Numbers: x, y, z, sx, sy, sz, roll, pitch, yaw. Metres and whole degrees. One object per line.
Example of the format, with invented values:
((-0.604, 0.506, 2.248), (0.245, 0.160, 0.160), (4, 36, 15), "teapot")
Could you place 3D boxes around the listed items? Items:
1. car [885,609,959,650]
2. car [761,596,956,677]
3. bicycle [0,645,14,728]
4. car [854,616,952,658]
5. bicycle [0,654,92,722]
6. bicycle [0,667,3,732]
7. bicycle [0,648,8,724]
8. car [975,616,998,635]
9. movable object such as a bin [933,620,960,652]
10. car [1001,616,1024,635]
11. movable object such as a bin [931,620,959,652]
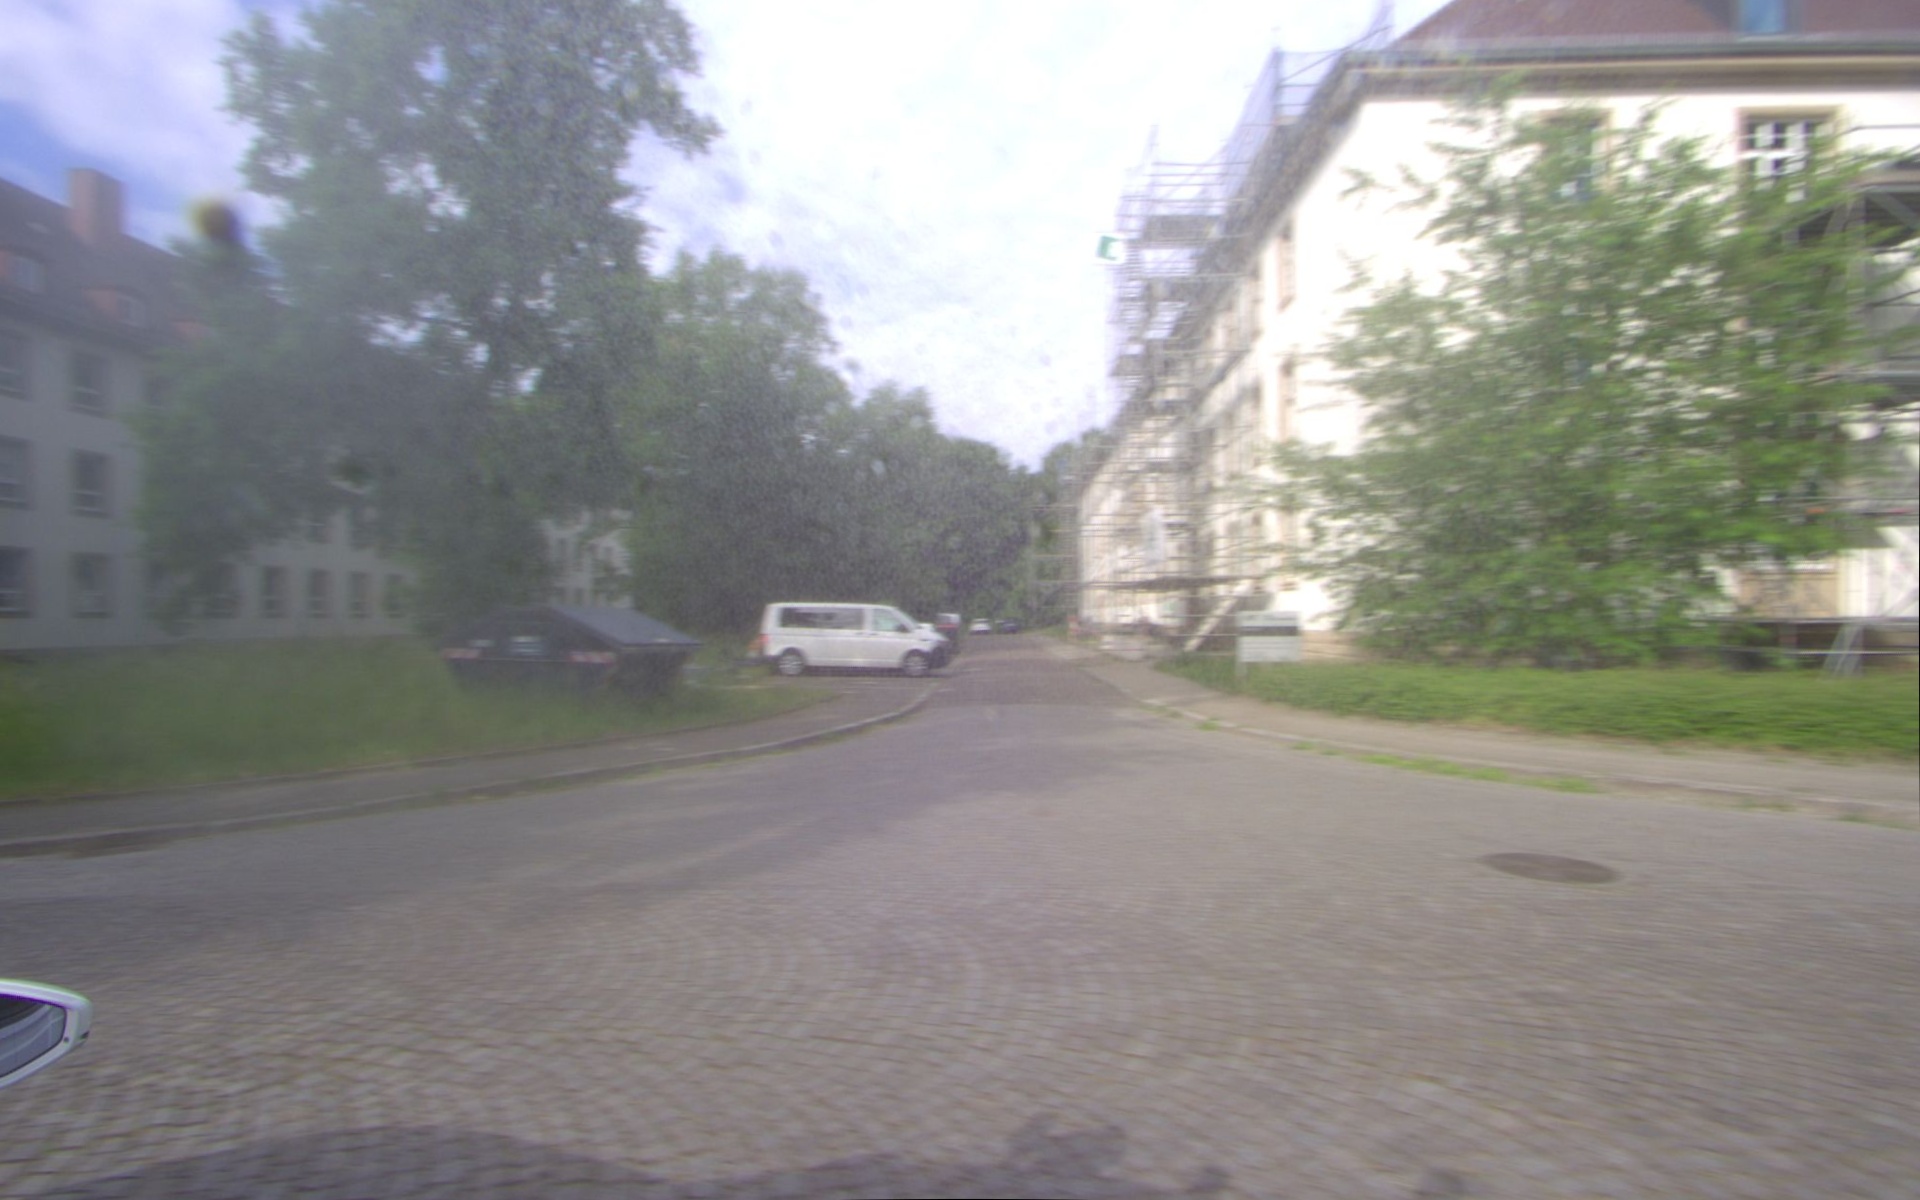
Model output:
((-2.076, 1.638, 55.157), (3.922, 2.039, 1.922), (2, -1, -2), "car")
((-2.718, 1.004, 27.741), (5.116, 2.087, 2.189), (1, -1, 2), "car")
((-14.096, 1.229, 13.617), (1.672, 1.132, 0.540), (-1, 2, -17), "bicycle")
((-2.287, 1.492, 40.393), (3.570, 1.499, 1.821), (2, -1, 11), "car")
((-13.948, 1.301, 14.780), (1.592, 0.923, 0.525), (-1, 2, -17), "bicycle")
((-13.826, 1.251, 13.135), (1.745, 1.120, 0.540), (-1, 2, -17), "bicycle")
((-14.539, 1.259, 14.057), (1.592, 1.073, 0.525), (-1, 2, -17), "bicycle")
((2.425, 2.391, 93.475), (1.969, 1.567, 3.960), (2, -2, -1), "car")
((-0.627, 1.712, 47.439), (1.164, 1.425, 0.975), (2, -1, 3), "movable object such as a bin")
((4.924, 2.407, 93.648), (2.030, 1.613, 4.002), (2, -2, 5), "car")
((-0.692, 1.666, 46.145), (1.164, 1.425, 0.975), (2, -1, 3), "movable object such as a bin")
